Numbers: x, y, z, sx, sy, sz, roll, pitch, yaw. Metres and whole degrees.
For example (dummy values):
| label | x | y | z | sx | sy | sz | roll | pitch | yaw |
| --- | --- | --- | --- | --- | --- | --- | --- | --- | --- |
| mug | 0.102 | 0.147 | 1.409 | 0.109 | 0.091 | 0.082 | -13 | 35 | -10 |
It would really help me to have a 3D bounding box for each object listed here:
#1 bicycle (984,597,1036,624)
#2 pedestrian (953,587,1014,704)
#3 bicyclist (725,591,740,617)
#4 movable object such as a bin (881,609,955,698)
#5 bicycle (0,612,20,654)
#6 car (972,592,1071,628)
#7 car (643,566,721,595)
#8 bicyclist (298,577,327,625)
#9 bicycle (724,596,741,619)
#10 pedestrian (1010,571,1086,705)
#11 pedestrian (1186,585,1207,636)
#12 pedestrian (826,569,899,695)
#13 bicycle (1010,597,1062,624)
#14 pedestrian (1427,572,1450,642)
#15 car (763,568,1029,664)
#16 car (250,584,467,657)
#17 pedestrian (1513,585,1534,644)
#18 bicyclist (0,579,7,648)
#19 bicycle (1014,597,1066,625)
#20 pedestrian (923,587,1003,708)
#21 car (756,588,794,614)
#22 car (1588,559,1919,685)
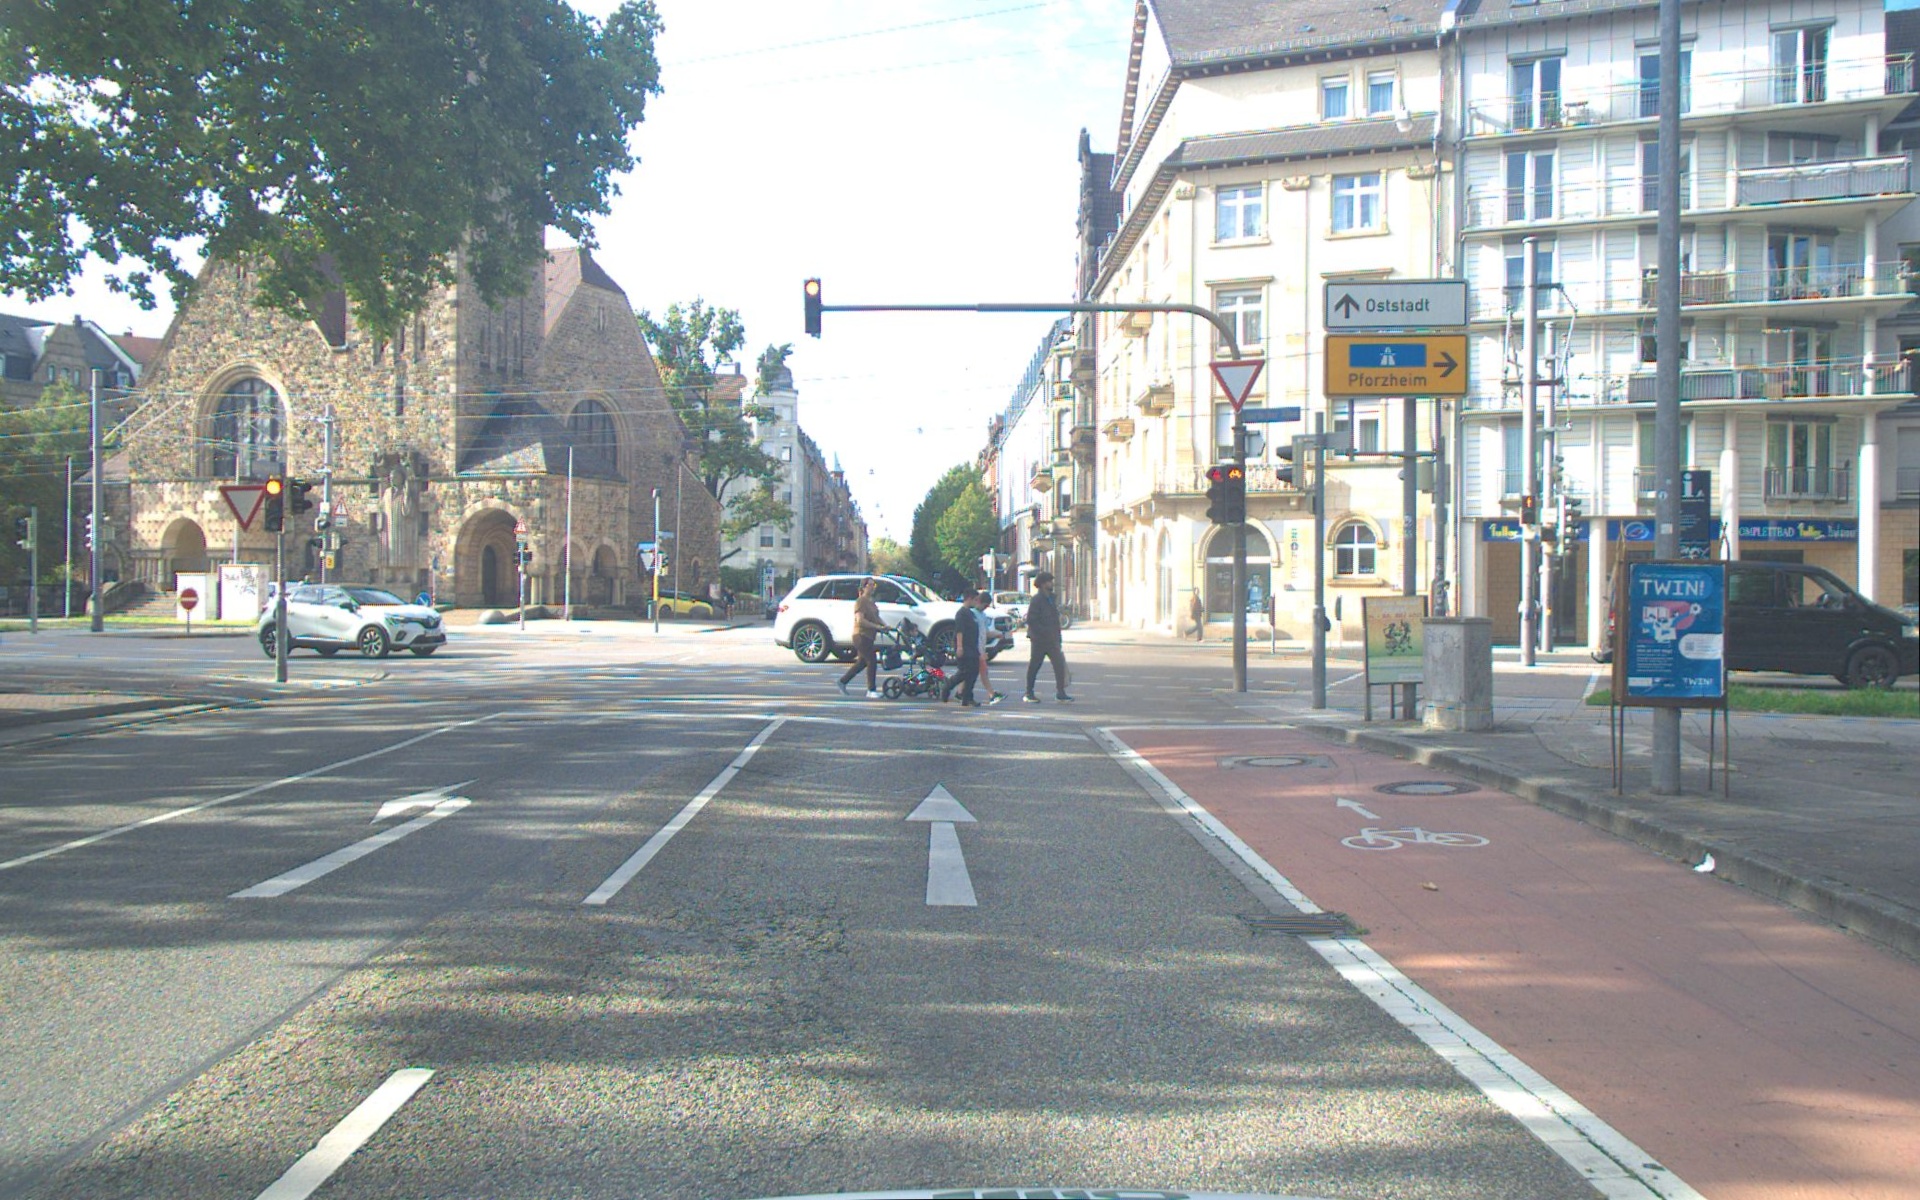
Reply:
| label | x | y | z | sx | sy | sz | roll | pitch | yaw |
| --- | --- | --- | --- | --- | --- | --- | --- | --- | --- |
| bicycle | 2.002 | 0.417 | 66.070 | 1.986 | 1.101 | 0.618 | 0 | 0 | -11 |
| pedestrian | 0.300 | 0.565 | 20.981 | 0.641 | 1.457 | 0.498 | 0 | 0 | 22 |
| bicyclist | -12.178 | 0.201 | 88.484 | 0.669 | 1.391 | 0.779 | 0 | 0 | -1 |
| movable object such as a bin | -0.551 | 0.699 | 21.941 | 0.820 | 1.143 | 0.575 | 0 | 0 | 22 |
| bicycle | -21.574 | 0.709 | 36.275 | 1.685 | 0.891 | 0.706 | 0 | 0 | 17 |
| car | 2.534 | 0.414 | 68.461 | 3.909 | 1.445 | 1.998 | 0 | 0 | -5 |
| car | -15.498 | -1.084 | 92.260 | 3.963 | 1.624 | 1.842 | 0 | 1 | -40 |
| bicyclist | -22.732 | 0.025 | 58.043 | 0.712 | 1.691 | 0.715 | 1 | 0 | 40 |
| bicycle | -12.186 | 0.411 | 88.607 | 0.677 | 1.202 | 1.918 | 0 | 1 | -1 |
| pedestrian | 1.147 | 0.473 | 21.469 | 0.765 | 1.691 | 0.778 | 0 | 0 | 22 |
| pedestrian | 7.721 | 0.342 | 54.017 | 0.550 | 1.652 | 0.600 | 0 | 0 | 20 |
| pedestrian | -1.311 | 0.419 | 22.294 | 0.798 | 1.657 | 0.605 | 0 | 0 | 23 |
| bicycle | 3.061 | 0.423 | 66.793 | 1.986 | 1.101 | 0.629 | 0 | 0 | -11 |
| pedestrian | 14.781 | 0.218 | 51.113 | 0.515 | 2.129 | 0.497 | 3 | 0 | 25 |
| car | -1.187 | 0.268 | 31.227 | 4.607 | 1.712 | 2.018 | 0 | 0 | 19 |
| car | -13.056 | 0.408 | 35.917 | 4.159 | 1.505 | 1.899 | 0 | 0 | 19 |
| pedestrian | 16.949 | 0.437 | 49.756 | 0.485 | 1.744 | 0.527 | 3 | 0 | 23 |
| bicyclist | -21.542 | 0.296 | 36.263 | 0.863 | 1.529 | 0.716 | 0 | 0 | 17 |
| bicycle | 3.182 | 0.432 | 66.123 | 1.986 | 1.101 | 0.618 | 0 | 0 | -11 |
| pedestrian | 0.043 | 0.569 | 20.415 | 0.765 | 1.457 | 0.731 | 0 | 0 | 22 |
| car | -11.129 | 0.046 | 99.663 | 1.953 | 1.523 | 3.999 | 0 | 0 | -1 |
| car | 12.680 | 0.309 | 26.580 | 4.742 | 1.903 | 2.032 | 0 | 0 | 19 |
